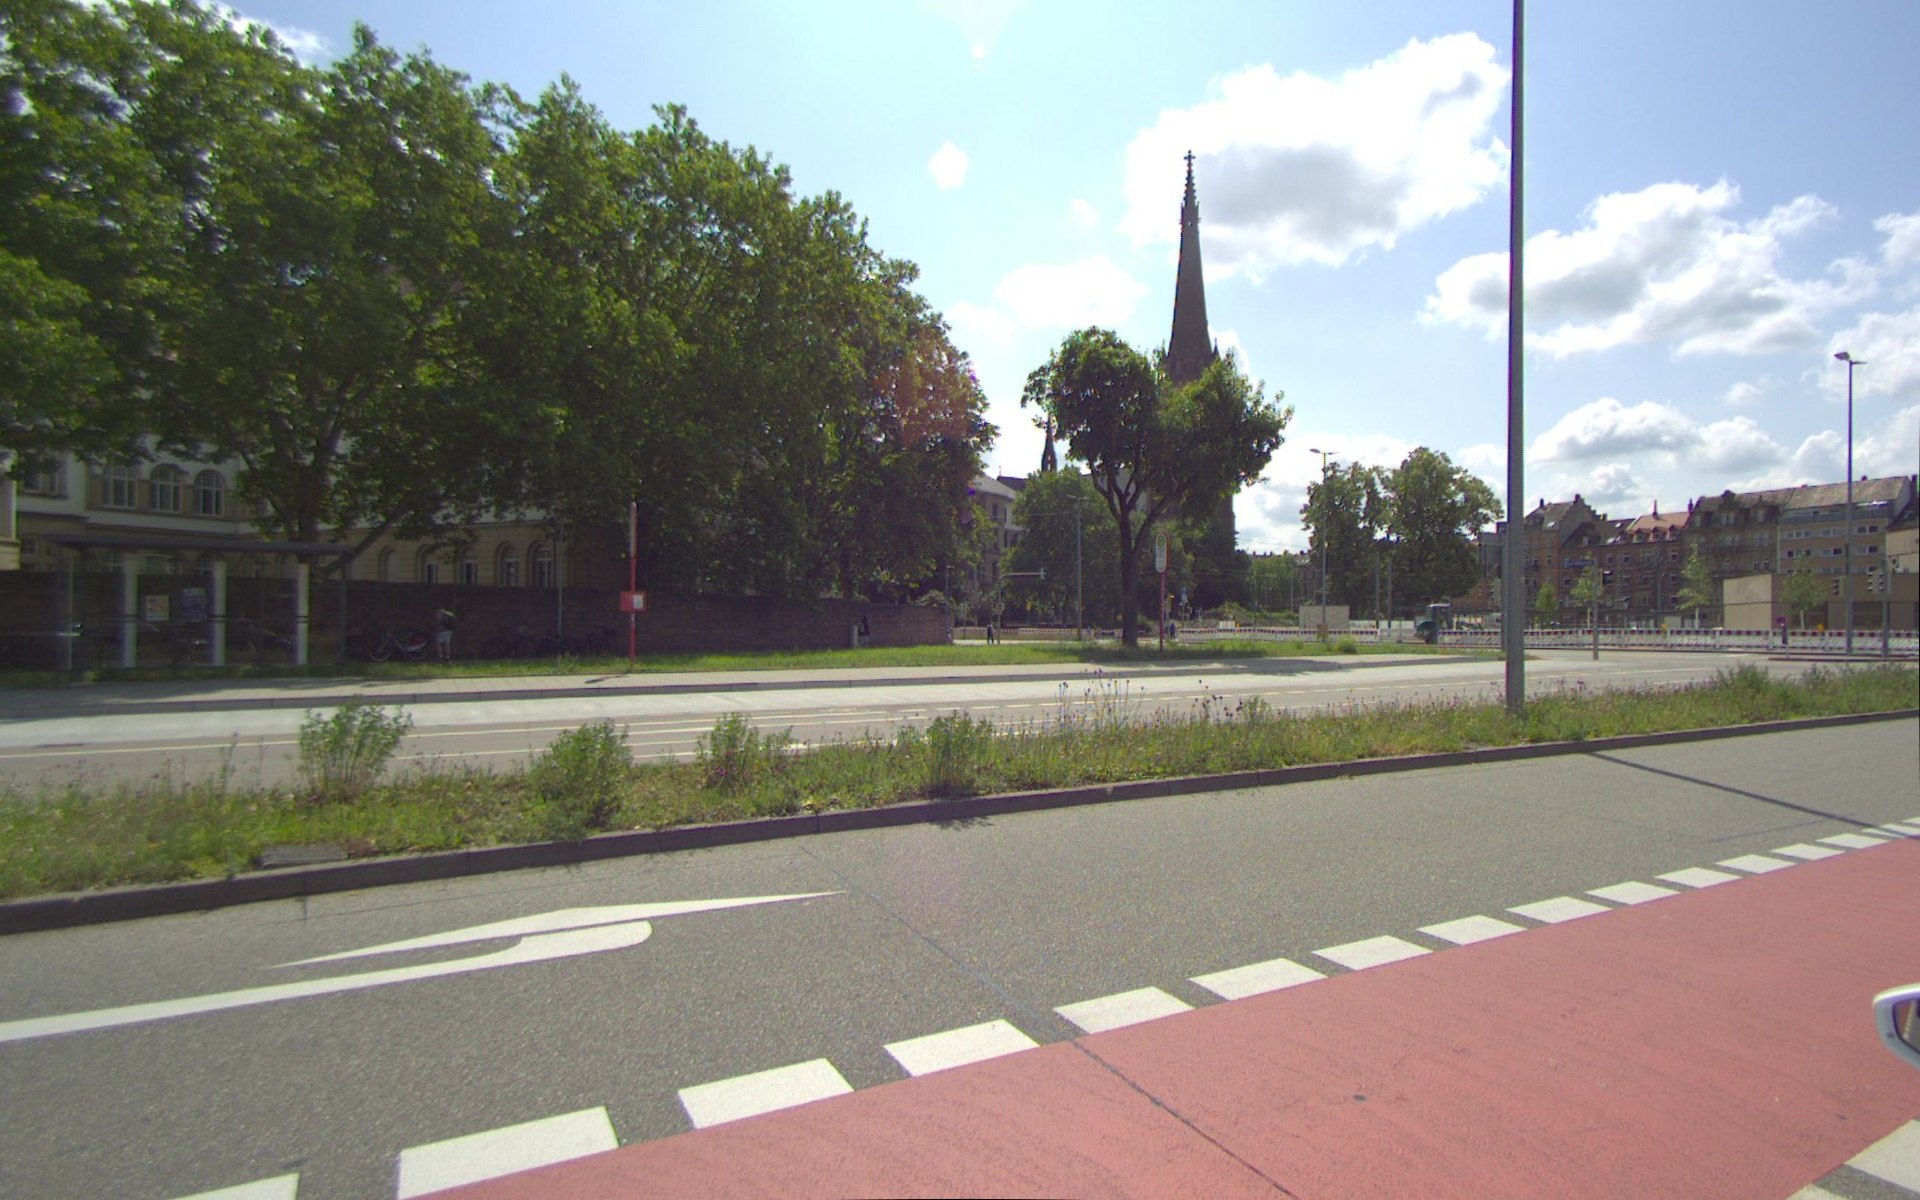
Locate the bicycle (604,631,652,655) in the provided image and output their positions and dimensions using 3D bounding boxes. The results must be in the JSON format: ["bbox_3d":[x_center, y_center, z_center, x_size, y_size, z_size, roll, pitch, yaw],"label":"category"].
[{"bbox_3d":[-11.769,1.522,35.670,0.324,0.828,1.743,0,-1,36],"label":"bicycle"}]

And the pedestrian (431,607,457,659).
[{"bbox_3d":[-15.115,0.959,29.417,0.627,1.492,0.506,1,-1,-32],"label":"pedestrian"}]

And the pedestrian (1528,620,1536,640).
[{"bbox_3d":[48.974,2.567,85.947,0.409,1.674,0.425,2,0,4],"label":"pedestrian"}]

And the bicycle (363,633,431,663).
[{"bbox_3d":[-16.234,1.382,29.002,0.324,0.828,1.743,0,-1,36],"label":"bicycle"}]

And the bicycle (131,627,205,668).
[{"bbox_3d":[-19.412,1.160,24.634,0.260,0.977,1.391,0,-1,36],"label":"bicycle"}]

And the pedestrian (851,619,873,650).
[{"bbox_3d":[-4.473,1.584,45.914,0.720,1.413,0.714,1,-1,-35],"label":"pedestrian"}]

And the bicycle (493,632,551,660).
[{"bbox_3d":[-14.014,1.465,32.188,0.378,0.828,1.743,0,-1,36],"label":"bicycle"}]

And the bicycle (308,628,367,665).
[{"bbox_3d":[-17.154,1.268,27.705,0.260,0.977,1.391,0,-1,36],"label":"bicycle"}]

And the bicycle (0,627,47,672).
[{"bbox_3d":[-21.251,1.093,22.314,0.260,0.977,1.391,0,-1,36],"label":"bicycle"}]

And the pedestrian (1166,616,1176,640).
[{"bbox_3d":[18.027,2.353,85.905,0.623,2.040,0.645,0,-1,43],"label":"pedestrian"}]

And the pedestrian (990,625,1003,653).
[{"bbox_3d":[2.733,2.875,74.704,0.713,2.040,0.721,1,-1,-32],"label":"pedestrian"}]

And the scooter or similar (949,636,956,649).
[{"bbox_3d":[-0.431,2.478,58.971,0.117,0.721,1.005,0,-1,17],"label":"scooter or similar"}]

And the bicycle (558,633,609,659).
[{"bbox_3d":[-12.774,1.553,34.143,0.324,0.828,1.743,0,-1,36],"label":"bicycle"}]
